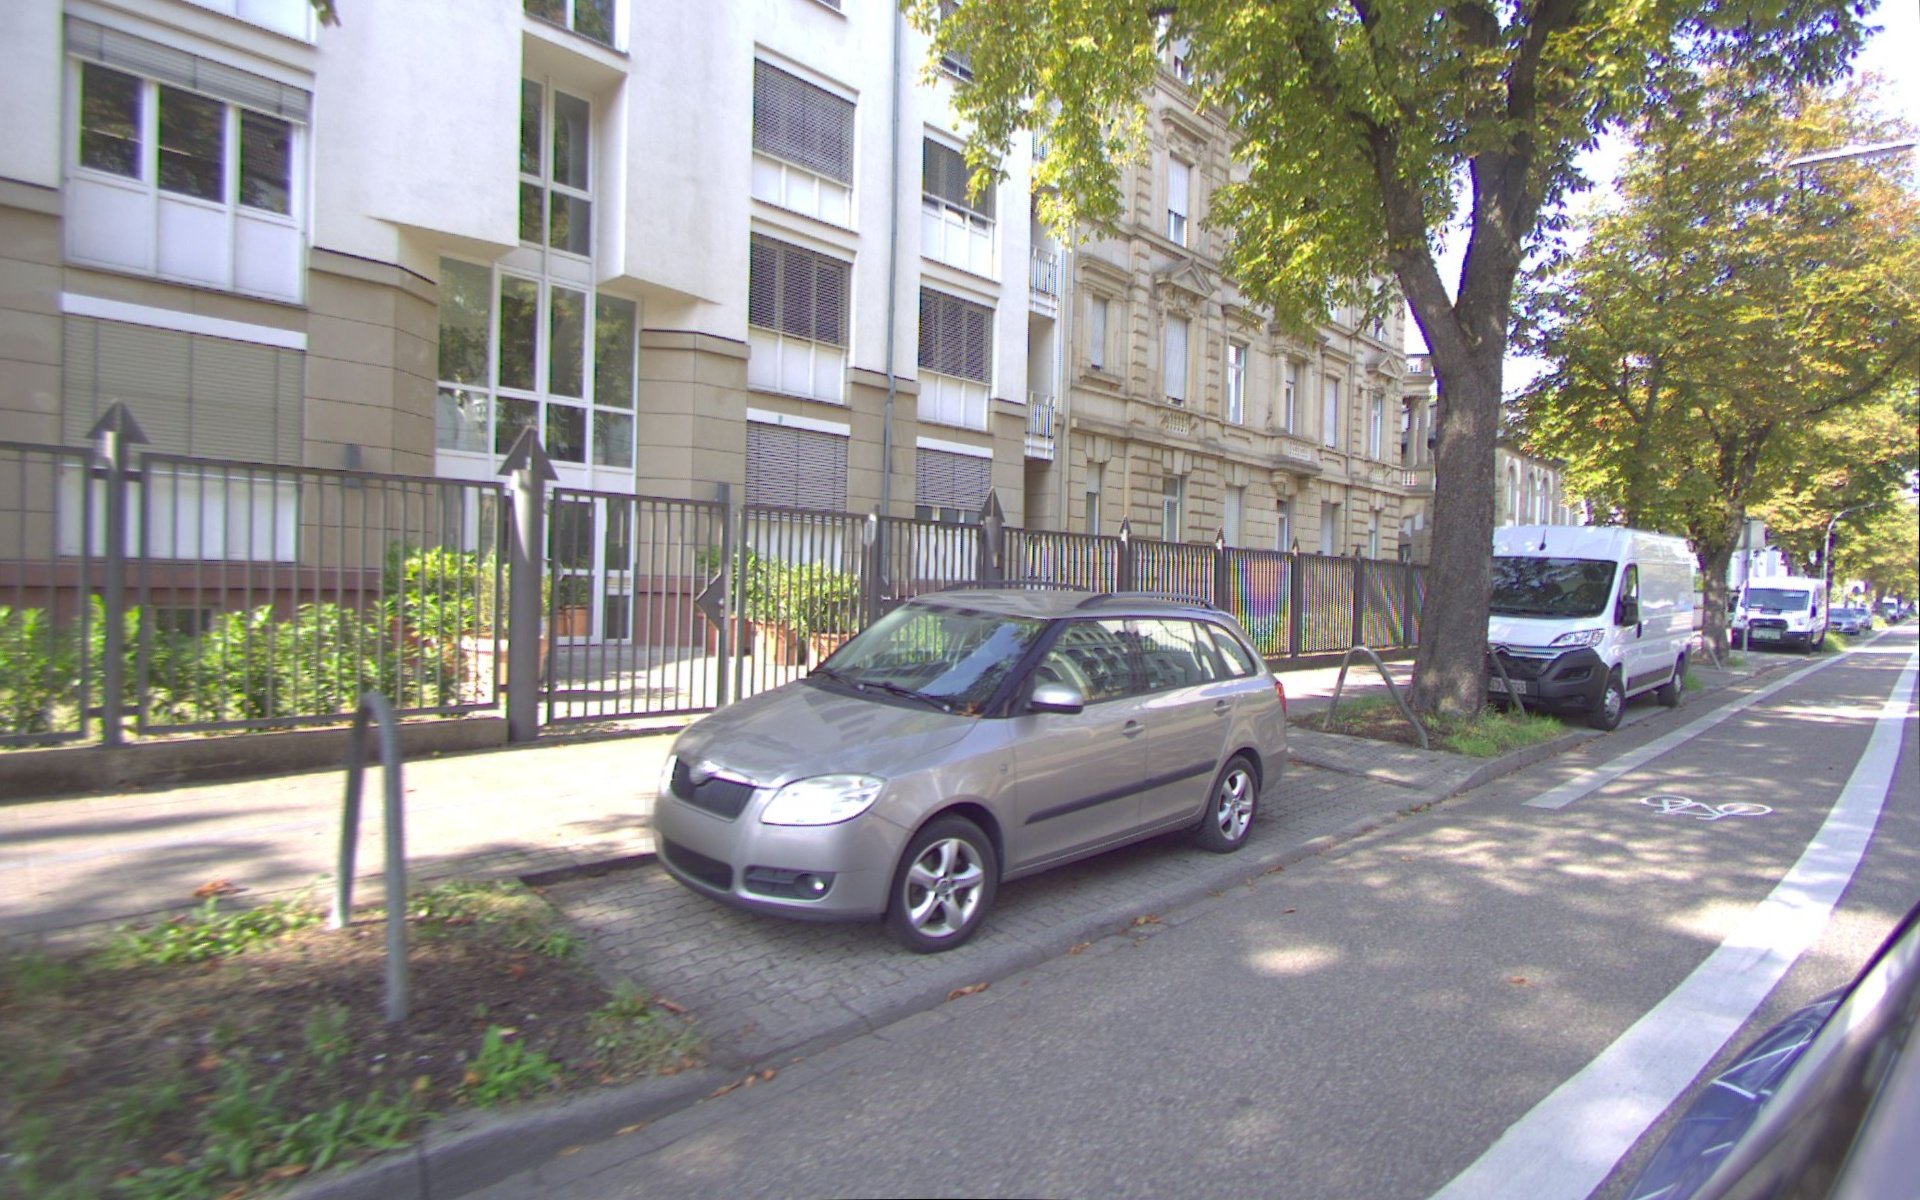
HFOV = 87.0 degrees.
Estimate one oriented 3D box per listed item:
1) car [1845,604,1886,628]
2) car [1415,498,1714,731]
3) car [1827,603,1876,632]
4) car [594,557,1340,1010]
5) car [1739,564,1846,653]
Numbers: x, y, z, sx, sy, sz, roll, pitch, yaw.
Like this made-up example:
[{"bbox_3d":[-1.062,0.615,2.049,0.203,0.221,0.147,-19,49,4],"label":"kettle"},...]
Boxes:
[{"bbox_3d":[55.892,0.936,62.426,1.753,1.374,3.728,2,1,44],"label":"car"},{"bbox_3d":[8.516,0.120,13.908,2.047,2.529,6.128,3,2,45],"label":"car"},{"bbox_3d":[46.571,0.896,52.829,1.753,1.374,3.728,2,1,44],"label":"car"},{"bbox_3d":[0.377,0.636,5.705,1.608,1.542,4.287,6,4,45],"label":"car"},{"bbox_3d":[27.098,0.236,32.864,5.771,2.572,1.996,0,3,-45],"label":"car"}]
